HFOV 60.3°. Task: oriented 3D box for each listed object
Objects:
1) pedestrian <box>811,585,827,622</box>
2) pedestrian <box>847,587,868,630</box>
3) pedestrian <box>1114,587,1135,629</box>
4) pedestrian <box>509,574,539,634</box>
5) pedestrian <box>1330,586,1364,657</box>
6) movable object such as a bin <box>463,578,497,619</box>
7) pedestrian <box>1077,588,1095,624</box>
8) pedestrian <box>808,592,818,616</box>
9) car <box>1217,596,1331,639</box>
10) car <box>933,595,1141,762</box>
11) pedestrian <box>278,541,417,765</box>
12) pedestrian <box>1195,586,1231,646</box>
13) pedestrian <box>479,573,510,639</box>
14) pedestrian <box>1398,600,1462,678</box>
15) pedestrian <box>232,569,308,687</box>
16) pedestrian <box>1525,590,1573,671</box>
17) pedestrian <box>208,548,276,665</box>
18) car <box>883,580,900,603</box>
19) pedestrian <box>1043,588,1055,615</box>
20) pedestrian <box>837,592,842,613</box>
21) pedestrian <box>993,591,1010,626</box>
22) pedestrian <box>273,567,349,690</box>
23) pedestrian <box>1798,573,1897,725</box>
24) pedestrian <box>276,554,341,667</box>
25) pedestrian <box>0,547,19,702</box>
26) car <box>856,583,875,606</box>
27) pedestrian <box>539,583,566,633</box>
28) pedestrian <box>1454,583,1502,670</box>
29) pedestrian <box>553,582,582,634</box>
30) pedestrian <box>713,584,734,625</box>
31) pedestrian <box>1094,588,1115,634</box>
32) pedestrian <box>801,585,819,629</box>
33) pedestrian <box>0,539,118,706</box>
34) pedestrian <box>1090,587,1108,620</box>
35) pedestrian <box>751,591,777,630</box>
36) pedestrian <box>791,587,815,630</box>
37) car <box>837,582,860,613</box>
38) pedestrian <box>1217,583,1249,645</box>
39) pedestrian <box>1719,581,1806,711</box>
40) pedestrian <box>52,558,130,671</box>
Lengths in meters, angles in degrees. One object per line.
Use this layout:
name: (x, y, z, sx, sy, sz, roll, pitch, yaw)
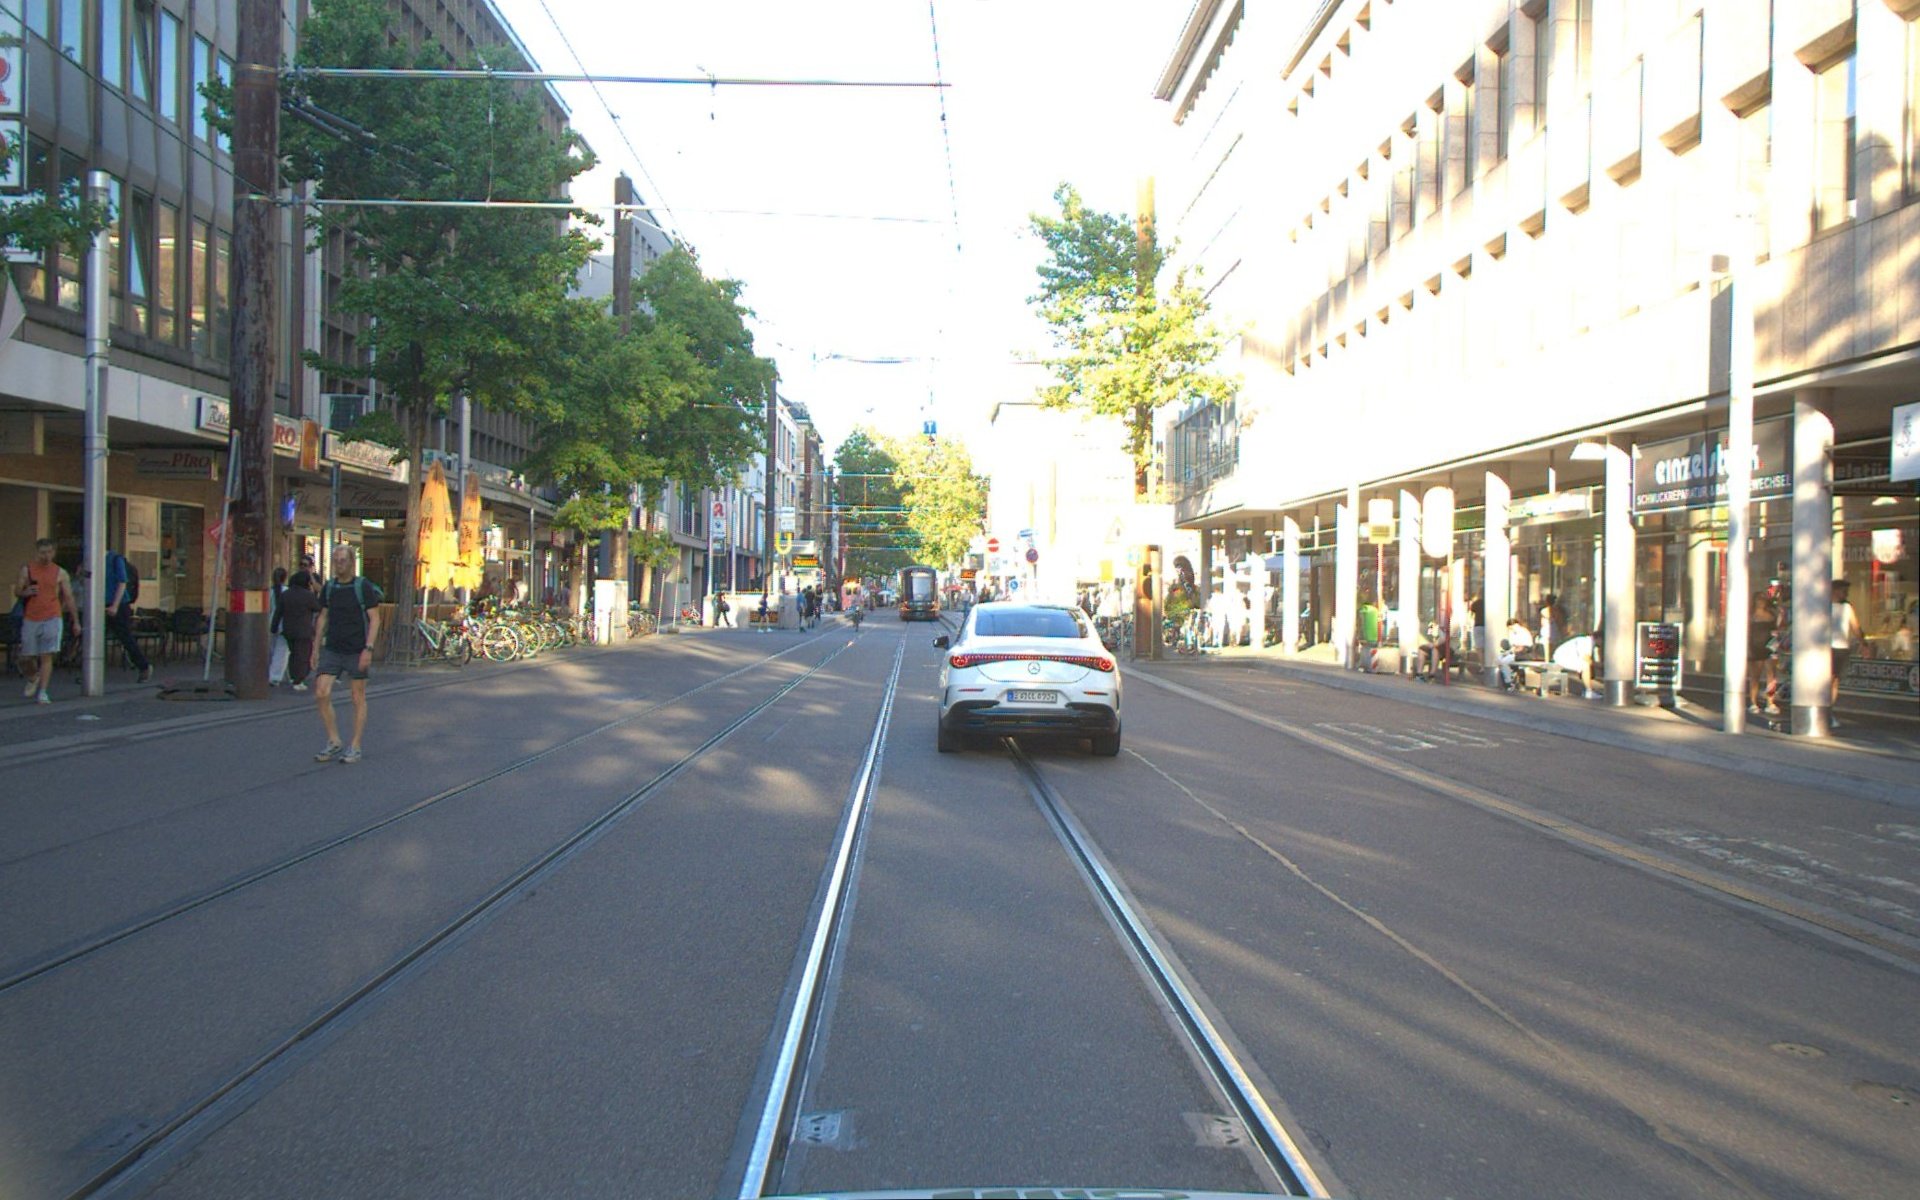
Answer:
pedestrian: (-6.883, 0.178, 80.773, 0.538, 1.791, 0.520, 1, 0, 26)
pedestrian: (-4.463, 0.355, 72.055, 0.784, 1.813, 0.848, 2, 0, -3)
pedestrian: (7.282, 0.339, 73.305, 0.824, 1.816, 0.803, -1, 0, -2)
pedestrian: (-13.177, 0.129, 49.949, 0.776, 1.797, 0.533, 1, 0, -26)
pedestrian: (9.409, 0.519, 40.219, 0.624, 1.682, 0.780, 1, 0, -1)
movable object such as a bin: (-12.762, -0.042, 43.970, 0.700, 1.057, 0.980, 0, 0, -8)
pedestrian: (5.989, 0.303, 78.717, 0.820, 1.691, 0.785, 1, 0, 0)
pedestrian: (-10.279, 0.266, 115.886, 0.647, 1.627, 0.573, 1, 0, -3)
car: (11.268, 0.630, 59.445, 3.729, 1.499, 1.647, 1, 0, -7)
car: (0.677, 0.717, 17.331, 1.820, 1.481, 4.173, 2, 0, -2)
pedestrian: (-5.234, 0.438, 14.177, 0.824, 1.832, 0.790, 2, 0, -1)
pedestrian: (7.710, 0.484, 50.385, 0.882, 1.775, 0.689, -3, 0, -2)
pedestrian: (-12.933, 0.168, 45.965, 0.705, 1.797, 0.679, 1, 0, -26)
pedestrian: (8.675, 0.718, 30.537, 0.822, 1.401, 0.772, 1, 0, -24)
pedestrian: (-9.356, 0.368, 22.459, 0.609, 1.535, 0.833, 3, 0, -1)
pedestrian: (11.658, 0.600, 32.743, 0.629, 1.568, 0.796, 1, 0, -1)
pedestrian: (-11.642, 0.095, 26.836, 0.609, 1.835, 0.933, 3, 0, -1)
car: (-8.756, -1.069, 211.513, 2.056, 2.948, 5.273, 0, 0, -1)
pedestrian: (5.959, 0.114, 110.246, 0.712, 1.817, 0.707, 1, 0, -2)
pedestrian: (-9.822, 0.184, 134.689, 0.405, 1.658, 0.606, 0, 0, -1)
pedestrian: (2.074, 0.409, 82.918, 0.731, 1.728, 0.840, 1, 0, -4)
pedestrian: (-8.677, 0.373, 22.137, 0.609, 1.577, 0.852, 3, 0, -1)
pedestrian: (10.957, 0.587, 20.441, 0.729, 1.824, 0.857, 1, 0, -1)
pedestrian: (-10.595, 0.170, 26.914, 0.609, 1.778, 0.933, 3, 0, -1)
pedestrian: (-10.730, 0.241, 17.676, 0.831, 1.666, 0.762, 2, 0, 18)
car: (-10.259, -0.586, 179.411, 1.871, 2.504, 5.273, 0, 0, -1)
pedestrian: (-14.737, 0.292, 59.791, 0.800, 1.792, 0.779, 1, 0, -4)
pedestrian: (10.718, 0.547, 34.229, 0.701, 1.771, 0.835, 1, 0, -1)
pedestrian: (-13.889, 0.282, 58.509, 0.718, 1.792, 0.808, 1, 0, -36)
pedestrian: (-10.162, 0.197, 71.175, 0.821, 1.747, 0.784, 1, 0, -3)
pedestrian: (5.755, 0.420, 65.918, 0.733, 1.816, 0.766, -1, 0, -2)
pedestrian: (-6.789, 0.319, 74.921, 0.531, 1.963, 0.569, 0, 0, 42)
pedestrian: (-10.012, 0.236, 18.299, 0.832, 1.771, 0.835, 2, 0, 18)
pedestrian: (7.306, 0.199, 86.877, 0.801, 1.714, 0.803, -1, 0, -2)
pedestrian: (-7.900, 0.417, 66.740, 0.936, 1.522, 0.944, 1, 0, -1)
pedestrian: (-6.399, 0.341, 67.561, 0.886, 1.728, 0.848, 1, 0, -1)
car: (-10.777, -0.217, 160.526, 1.953, 2.948, 5.273, 0, 0, -1)
pedestrian: (8.278, 0.424, 50.231, 0.687, 1.844, 1.033, -3, 0, -2)
pedestrian: (10.969, 0.610, 22.624, 0.729, 1.730, 0.857, 1, 0, -1)
pedestrian: (-12.378, 0.199, 23.568, 0.609, 1.552, 0.809, 3, 0, -1)
